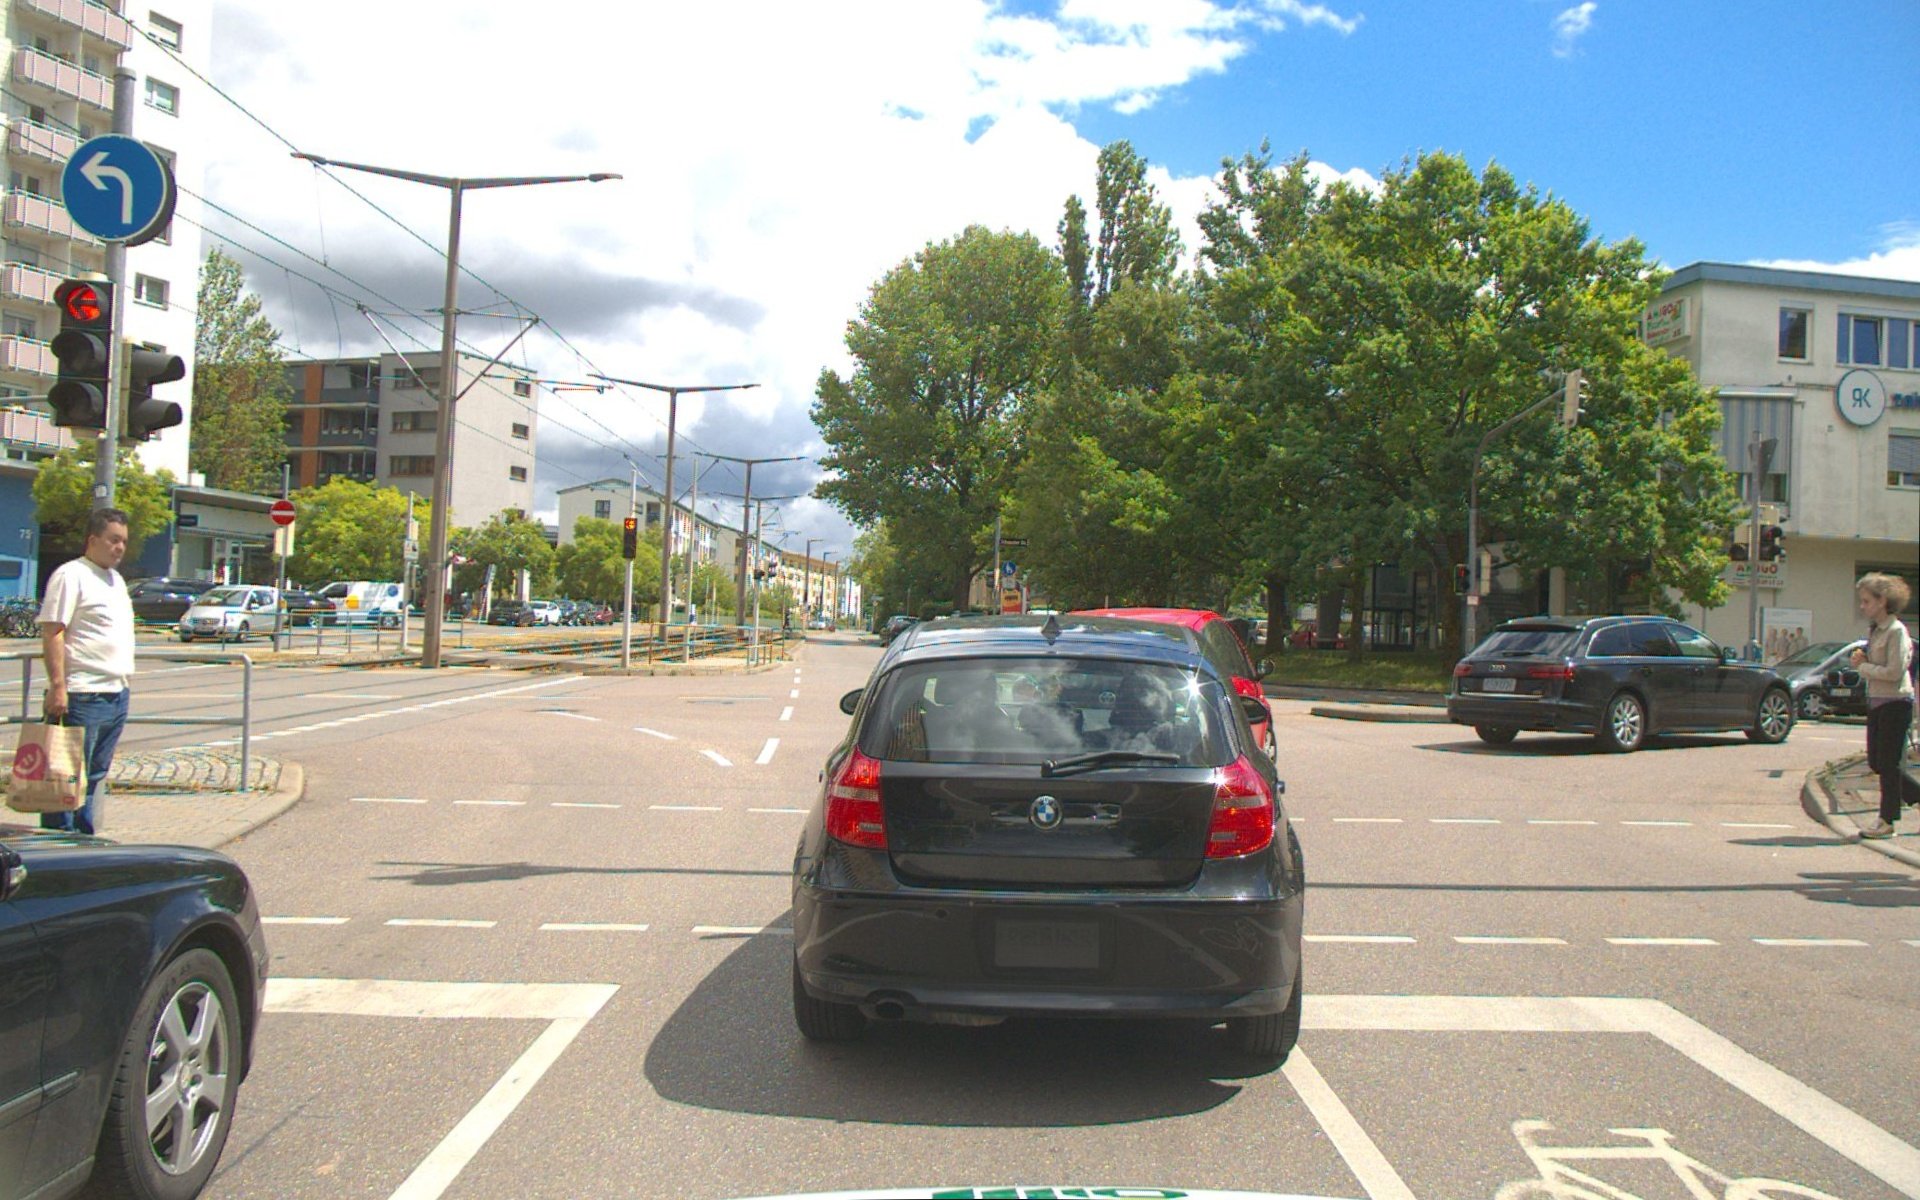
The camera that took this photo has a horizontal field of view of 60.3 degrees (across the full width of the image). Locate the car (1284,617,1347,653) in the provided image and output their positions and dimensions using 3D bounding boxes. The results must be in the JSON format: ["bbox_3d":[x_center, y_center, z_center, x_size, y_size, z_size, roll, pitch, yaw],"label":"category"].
[{"bbox_3d":[17.069,1.656,79.604,1.698,1.623,3.993,1,0,-8],"label":"car"}]

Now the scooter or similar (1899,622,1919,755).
[{"bbox_3d":[9.204,0.821,14.940,1.338,1.176,0.539,3,0,-26],"label":"scooter or similar"}]

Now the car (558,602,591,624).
[{"bbox_3d":[-26.000,0.853,111.753,1.728,1.419,3.994,1,0,-7],"label":"car"}]

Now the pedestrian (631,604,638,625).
[{"bbox_3d":[-26.640,1.172,135.262,0.444,1.665,0.480,1,0,-3],"label":"pedestrian"}]

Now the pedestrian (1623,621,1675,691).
[{"bbox_3d":[16.817,1.357,40.371,0.756,1.672,0.903,2,0,-16],"label":"pedestrian"}]

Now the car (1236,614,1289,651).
[{"bbox_3d":[14.437,1.532,79.120,1.598,1.623,3.997,1,0,-4],"label":"car"}]

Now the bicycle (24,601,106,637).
[{"bbox_3d":[-24.758,0.518,45.769,1.909,0.951,0.494,1,-1,-7],"label":"bicycle"}]

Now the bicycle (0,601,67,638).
[{"bbox_3d":[-24.696,0.509,43.652,1.909,0.951,0.494,1,-1,-7],"label":"bicycle"}]

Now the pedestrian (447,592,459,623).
[{"bbox_3d":[-28.290,0.407,92.301,0.537,1.746,0.404,1,0,-11],"label":"pedestrian"}]

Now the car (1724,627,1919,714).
[{"bbox_3d":[17.362,1.380,32.509,3.838,1.583,1.994,1,0,-12],"label":"car"}]

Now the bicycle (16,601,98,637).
[{"bbox_3d":[-24.716,0.516,45.279,1.909,0.951,0.494,1,-1,-7],"label":"bicycle"}]

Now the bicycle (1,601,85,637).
[{"bbox_3d":[-24.751,0.513,44.673,1.909,0.951,0.494,1,-1,-7],"label":"bicycle"}]

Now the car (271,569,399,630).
[{"bbox_3d":[-27.091,-0.042,71.554,2.810,2.522,6.614,1,0,-44],"label":"car"}]

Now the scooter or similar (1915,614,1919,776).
[{"bbox_3d":[8.395,0.784,13.122,1.315,1.299,0.462,1,1,6],"label":"scooter or similar"}]

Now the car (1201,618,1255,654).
[{"bbox_3d":[12.574,1.669,77.808,1.598,1.600,4.029,1,0,-4],"label":"car"}]

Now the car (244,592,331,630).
[{"bbox_3d":[-27.062,0.429,66.473,1.777,1.445,4.148,1,0,-45],"label":"car"}]

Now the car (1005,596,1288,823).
[{"bbox_3d":[1.544,0.731,12.704,1.510,1.466,3.197,1,0,18],"label":"car"}]

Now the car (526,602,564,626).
[{"bbox_3d":[-25.250,0.845,100.623,1.728,1.419,3.994,1,0,-7],"label":"car"}]

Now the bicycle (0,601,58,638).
[{"bbox_3d":[-24.650,0.507,43.147,1.909,0.951,0.494,1,-1,-7],"label":"bicycle"}]

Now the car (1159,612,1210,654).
[{"bbox_3d":[10.412,1.490,76.954,1.598,1.842,4.029,1,0,-4],"label":"car"}]

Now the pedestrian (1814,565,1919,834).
[{"bbox_3d":[6.253,0.630,10.901,0.932,1.703,0.871,0,0,14],"label":"pedestrian"}]

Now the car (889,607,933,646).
[{"bbox_3d":[-2.255,1.221,77.062,1.953,1.713,3.999,1,0,-1],"label":"car"}]

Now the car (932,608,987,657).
[{"bbox_3d":[-0.044,1.215,61.647,1.953,1.713,3.999,1,-1,-1],"label":"car"}]

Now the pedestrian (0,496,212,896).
[{"bbox_3d":[-4.231,0.443,8.028,0.851,1.839,0.741,1,0,-5],"label":"pedestrian"}]

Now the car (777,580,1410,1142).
[{"bbox_3d":[0.350,0.716,6.568,1.717,1.513,3.999,1,0,-1],"label":"car"}]

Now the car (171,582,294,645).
[{"bbox_3d":[-21.293,0.388,48.599,1.897,1.722,3.872,1,0,-1],"label":"car"}]

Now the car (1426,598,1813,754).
[{"bbox_3d":[7.606,0.812,18.937,4.467,1.581,1.976,1,-1,-34],"label":"car"}]

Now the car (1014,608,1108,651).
[{"bbox_3d":[4.639,1.342,75.773,3.933,1.855,1.766,1,0,-23],"label":"car"}]

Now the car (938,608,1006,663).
[{"bbox_3d":[0.370,1.157,54.205,2.108,1.713,3.999,1,-1,-1],"label":"car"}]

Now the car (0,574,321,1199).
[{"bbox_3d":[-2.597,0.678,2.251,1.693,1.487,4.543,1,0,-1],"label":"car"}]

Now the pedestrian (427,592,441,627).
[{"bbox_3d":[-26.365,0.480,82.857,0.537,1.746,0.667,1,0,-10],"label":"pedestrian"}]

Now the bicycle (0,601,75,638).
[{"bbox_3d":[-24.740,0.510,44.127,1.909,0.951,0.494,1,-1,-7],"label":"bicycle"}]

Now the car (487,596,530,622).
[{"bbox_3d":[-25.370,0.504,93.027,1.728,1.419,3.994,1,0,-7],"label":"car"}]

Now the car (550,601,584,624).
[{"bbox_3d":[-25.455,0.782,107.196,1.728,1.419,3.994,1,0,-7],"label":"car"}]

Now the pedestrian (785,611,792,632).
[{"bbox_3d":[-13.594,1.720,131.379,0.469,1.665,0.454,1,0,-2],"label":"pedestrian"}]

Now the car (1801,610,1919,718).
[{"bbox_3d":[17.169,1.108,28.466,4.472,1.747,1.997,1,0,-8],"label":"car"}]

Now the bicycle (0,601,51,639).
[{"bbox_3d":[-24.595,0.506,42.683,1.909,0.951,0.494,1,-1,-7],"label":"bicycle"}]
